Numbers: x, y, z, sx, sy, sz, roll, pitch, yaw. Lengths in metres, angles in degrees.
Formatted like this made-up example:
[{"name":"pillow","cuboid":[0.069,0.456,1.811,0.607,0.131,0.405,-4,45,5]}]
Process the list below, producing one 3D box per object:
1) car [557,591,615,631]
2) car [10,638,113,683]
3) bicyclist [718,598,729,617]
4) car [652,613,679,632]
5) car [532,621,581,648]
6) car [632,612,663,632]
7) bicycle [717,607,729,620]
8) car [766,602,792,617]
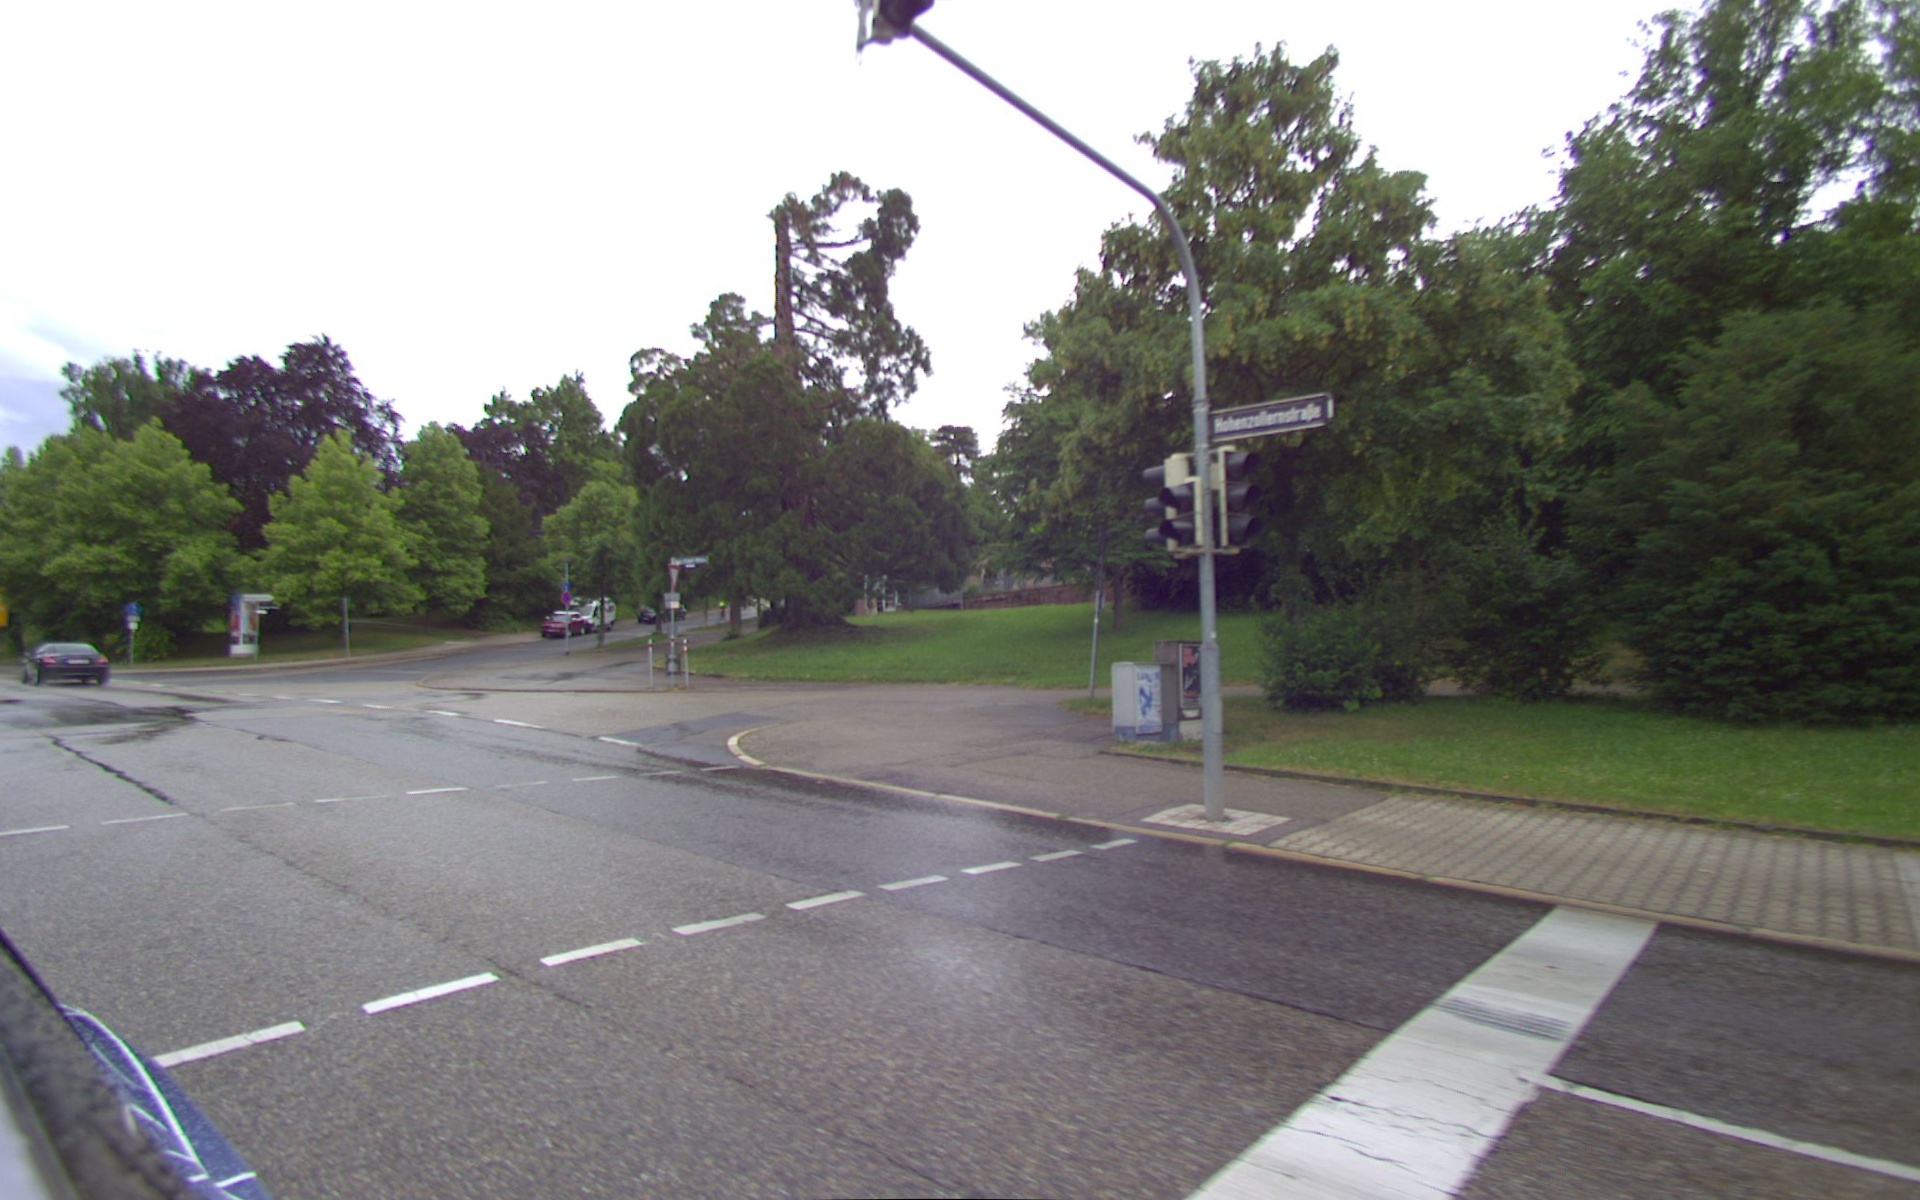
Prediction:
[{"name":"car","cuboid":[-26.747,0.853,72.579,2.126,2.720,5.671,-1,-1,-1]},{"name":"car","cuboid":[-28.513,1.951,32.082,4.076,1.317,1.645,-3,-6,37]},{"name":"bicyclist","cuboid":[-22.197,0.735,95.014,0.841,1.769,1.287,1,-2,-6]},{"name":"car","cuboid":[-26.906,2.066,92.589,1.799,1.681,4.006,-1,-1,-7]},{"name":"car","cuboid":[-26.702,2.290,67.094,1.947,1.681,4.005,-1,-1,-6]},{"name":"car","cuboid":[-26.721,1.901,86.580,1.799,1.681,4.006,-1,-1,-7]},{"name":"bicycle","cuboid":[-22.206,1.281,94.977,0.841,1.164,2.041,1,-2,-6]},{"name":"car","cuboid":[-20.585,1.085,114.992,1.852,1.682,4.197,-2,0,5]}]
